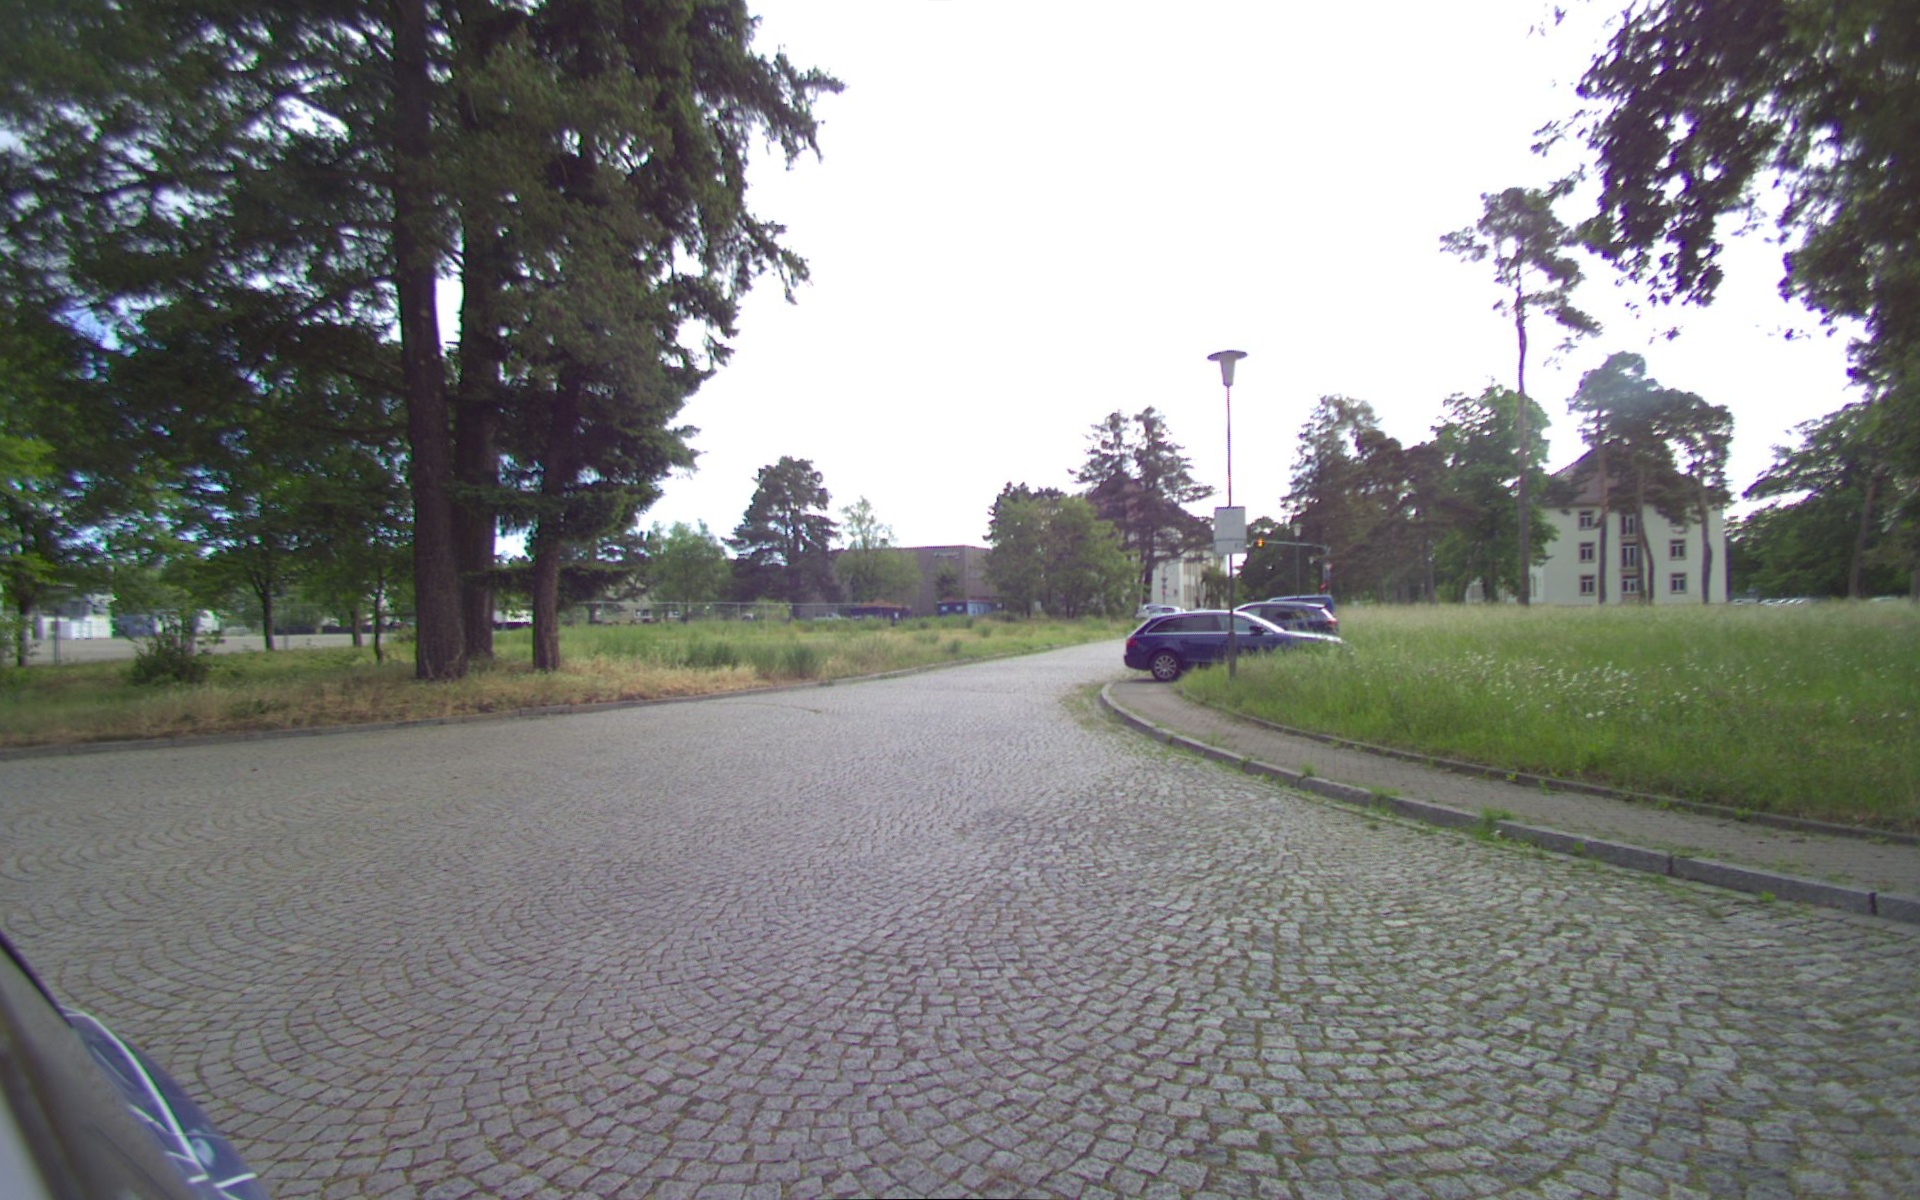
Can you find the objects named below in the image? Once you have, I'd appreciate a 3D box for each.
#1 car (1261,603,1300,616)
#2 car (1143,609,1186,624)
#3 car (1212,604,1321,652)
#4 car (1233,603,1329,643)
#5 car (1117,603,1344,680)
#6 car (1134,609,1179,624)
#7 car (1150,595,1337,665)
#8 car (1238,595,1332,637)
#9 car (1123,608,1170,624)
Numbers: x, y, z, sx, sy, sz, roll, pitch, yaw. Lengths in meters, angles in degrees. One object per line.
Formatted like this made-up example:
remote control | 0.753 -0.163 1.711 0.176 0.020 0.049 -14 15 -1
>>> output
car | 44.038 1.259 139.064 4.938 1.634 1.893 -1 -1 14
car | 16.217 1.293 80.321 3.241 1.095 1.389 -1 -1 17
car | 10.640 0.967 35.134 3.472 1.493 1.592 -3 -1 19
car | 14.197 1.003 44.799 3.922 1.557 1.753 -3 -1 19
car | 5.613 0.871 21.057 4.327 1.415 1.750 -3 -1 23
car | 15.161 1.258 78.114 3.241 1.095 1.442 -1 -1 17
car | 7.136 0.771 25.555 4.332 1.574 1.753 -3 -1 19
car | 17.028 0.844 53.135 4.510 1.916 1.782 -3 -1 19
car | 15.375 1.306 83.428 3.568 1.220 1.574 -1 -1 19
